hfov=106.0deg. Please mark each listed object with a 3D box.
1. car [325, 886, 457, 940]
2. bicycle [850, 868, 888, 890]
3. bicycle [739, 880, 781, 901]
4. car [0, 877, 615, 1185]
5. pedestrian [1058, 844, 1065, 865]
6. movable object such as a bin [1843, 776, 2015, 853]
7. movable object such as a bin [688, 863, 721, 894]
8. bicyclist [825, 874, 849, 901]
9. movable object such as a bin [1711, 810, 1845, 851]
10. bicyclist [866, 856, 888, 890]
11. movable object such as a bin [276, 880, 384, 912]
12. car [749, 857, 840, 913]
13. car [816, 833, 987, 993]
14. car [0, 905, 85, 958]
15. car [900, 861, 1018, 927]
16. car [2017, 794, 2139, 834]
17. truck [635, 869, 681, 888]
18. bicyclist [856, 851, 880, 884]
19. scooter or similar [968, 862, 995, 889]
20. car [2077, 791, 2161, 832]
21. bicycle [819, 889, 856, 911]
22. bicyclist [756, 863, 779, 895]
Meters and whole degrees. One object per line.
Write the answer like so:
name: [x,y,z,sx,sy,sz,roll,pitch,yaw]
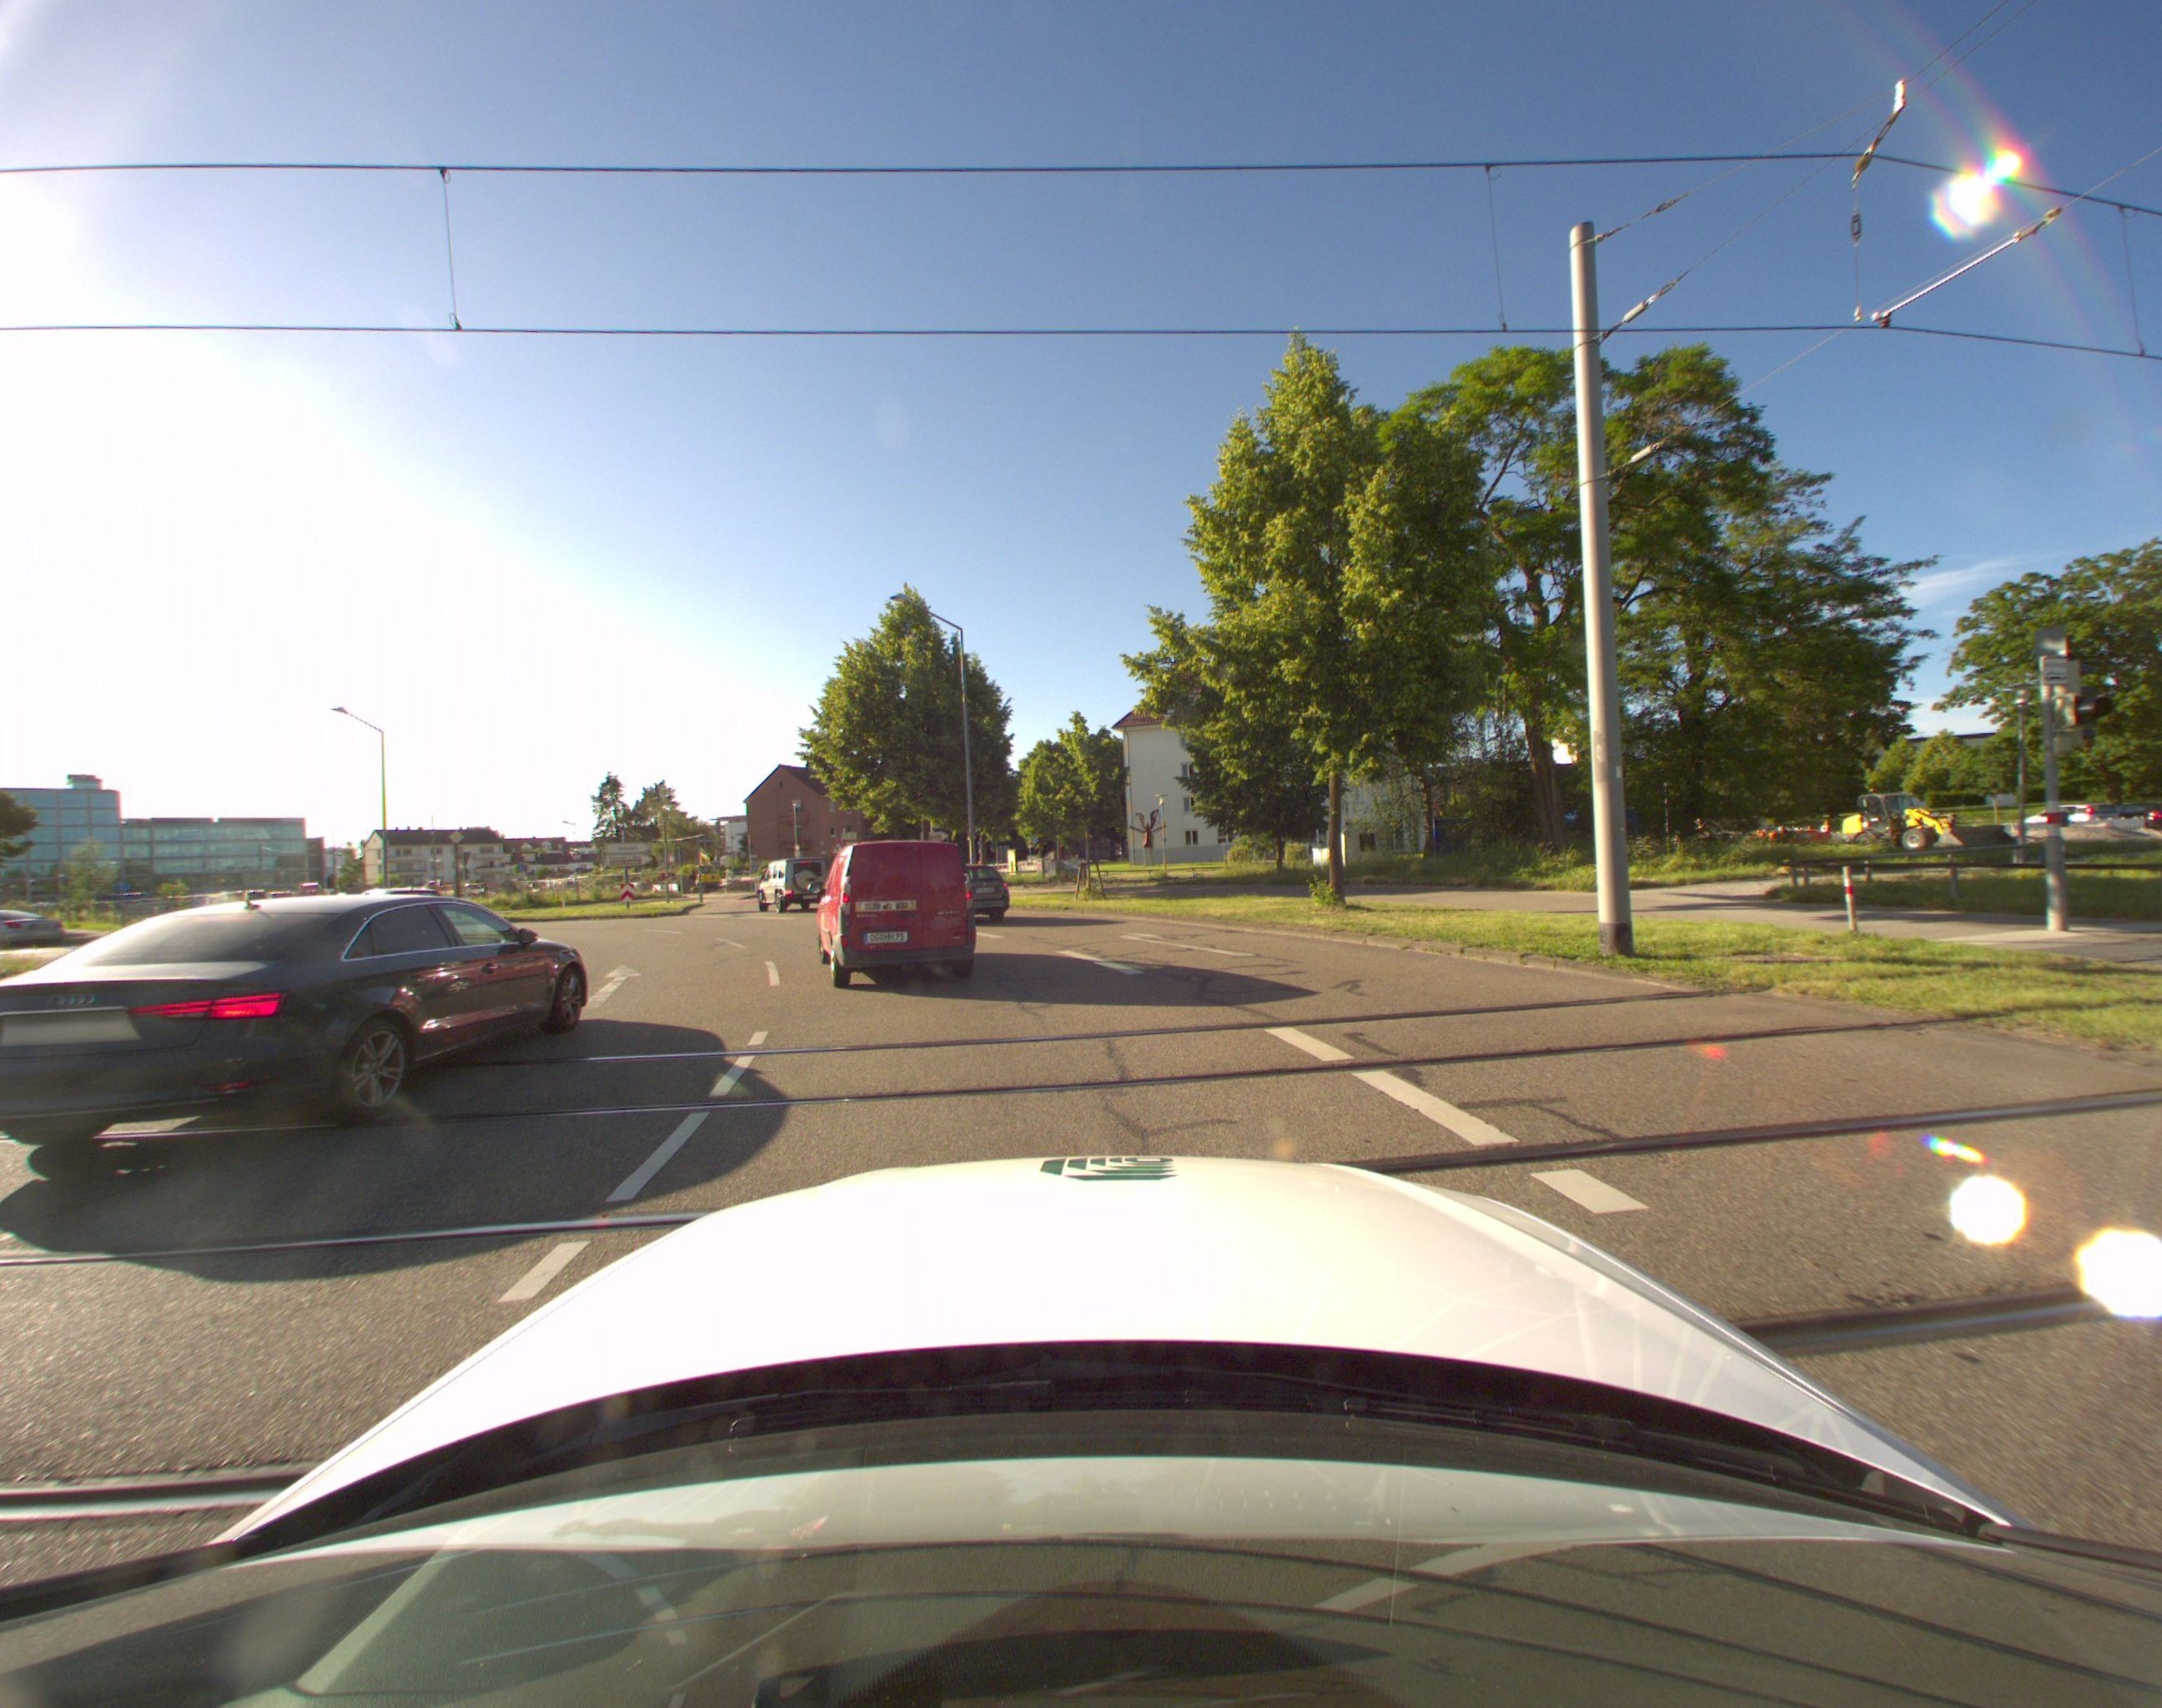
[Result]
car: [-21.043,1.736,24.813,3.761,1.461,1.820,-1,0,29]
bicycle: [-10.746,1.270,41.296,1.802,1.028,0.664,-2,-1,21]
bicycle: [-17.821,2.007,45.212,1.994,1.027,0.743,-2,2,4]
car: [-5.479,0.960,6.259,1.759,1.380,4.346,-2,0,-8]
pedestrian: [-1.896,0.073,80.279,0.466,2.013,0.457,-3,0,24]
movable object such as a bin: [34.599,-1.498,33.487,1.984,2.789,5.054,-2,-1,4]
movable object such as a bin: [-35.029,2.294,75.711,2.434,2.773,3.962,-1,-1,-29]
bicyclist: [-12.593,1.736,42.053,0.924,1.385,0.664,-2,-2,22]
movable object such as a bin: [36.902,-1.200,43.238,4.978,1.948,2.244,-2,-1,7]
bicyclist: [-10.605,0.980,42.390,0.804,1.730,0.657,-3,-1,16]
movable object such as a bin: [-79.809,4.414,86.676,2.905,2.782,7.984,-2,0,38]
car: [-10.997,1.157,31.049,2.012,1.897,4.701,-2,-1,-35]
car: [-2.674,0.686,11.434,1.809,1.813,3.783,-1,0,-20]
car: [-37.824,2.745,27.951,4.389,1.575,1.996,-3,1,-7]
car: [-3.193,0.958,20.618,1.723,1.436,4.115,-2,-1,-27]
car: [51.457,-2.027,42.159,1.979,1.723,4.016,-2,-1,15]
truck: [-47.306,2.742,90.995,6.352,2.014,2.185,-2,-2,38]
bicyclist: [-10.799,0.680,41.337,0.888,1.665,0.664,-2,-2,22]
scooter or similar: [-4.751,1.025,38.809,1.248,1.248,0.447,-4,-3,38]
car: [53.386,-2.131,41.083,1.979,1.768,4.016,-2,-1,15]
bicycle: [-12.559,2.387,42.034,1.802,1.028,0.664,-4,-2,23]
bicyclist: [-17.386,1.388,45.147,0.847,1.680,0.743,-2,2,4]
